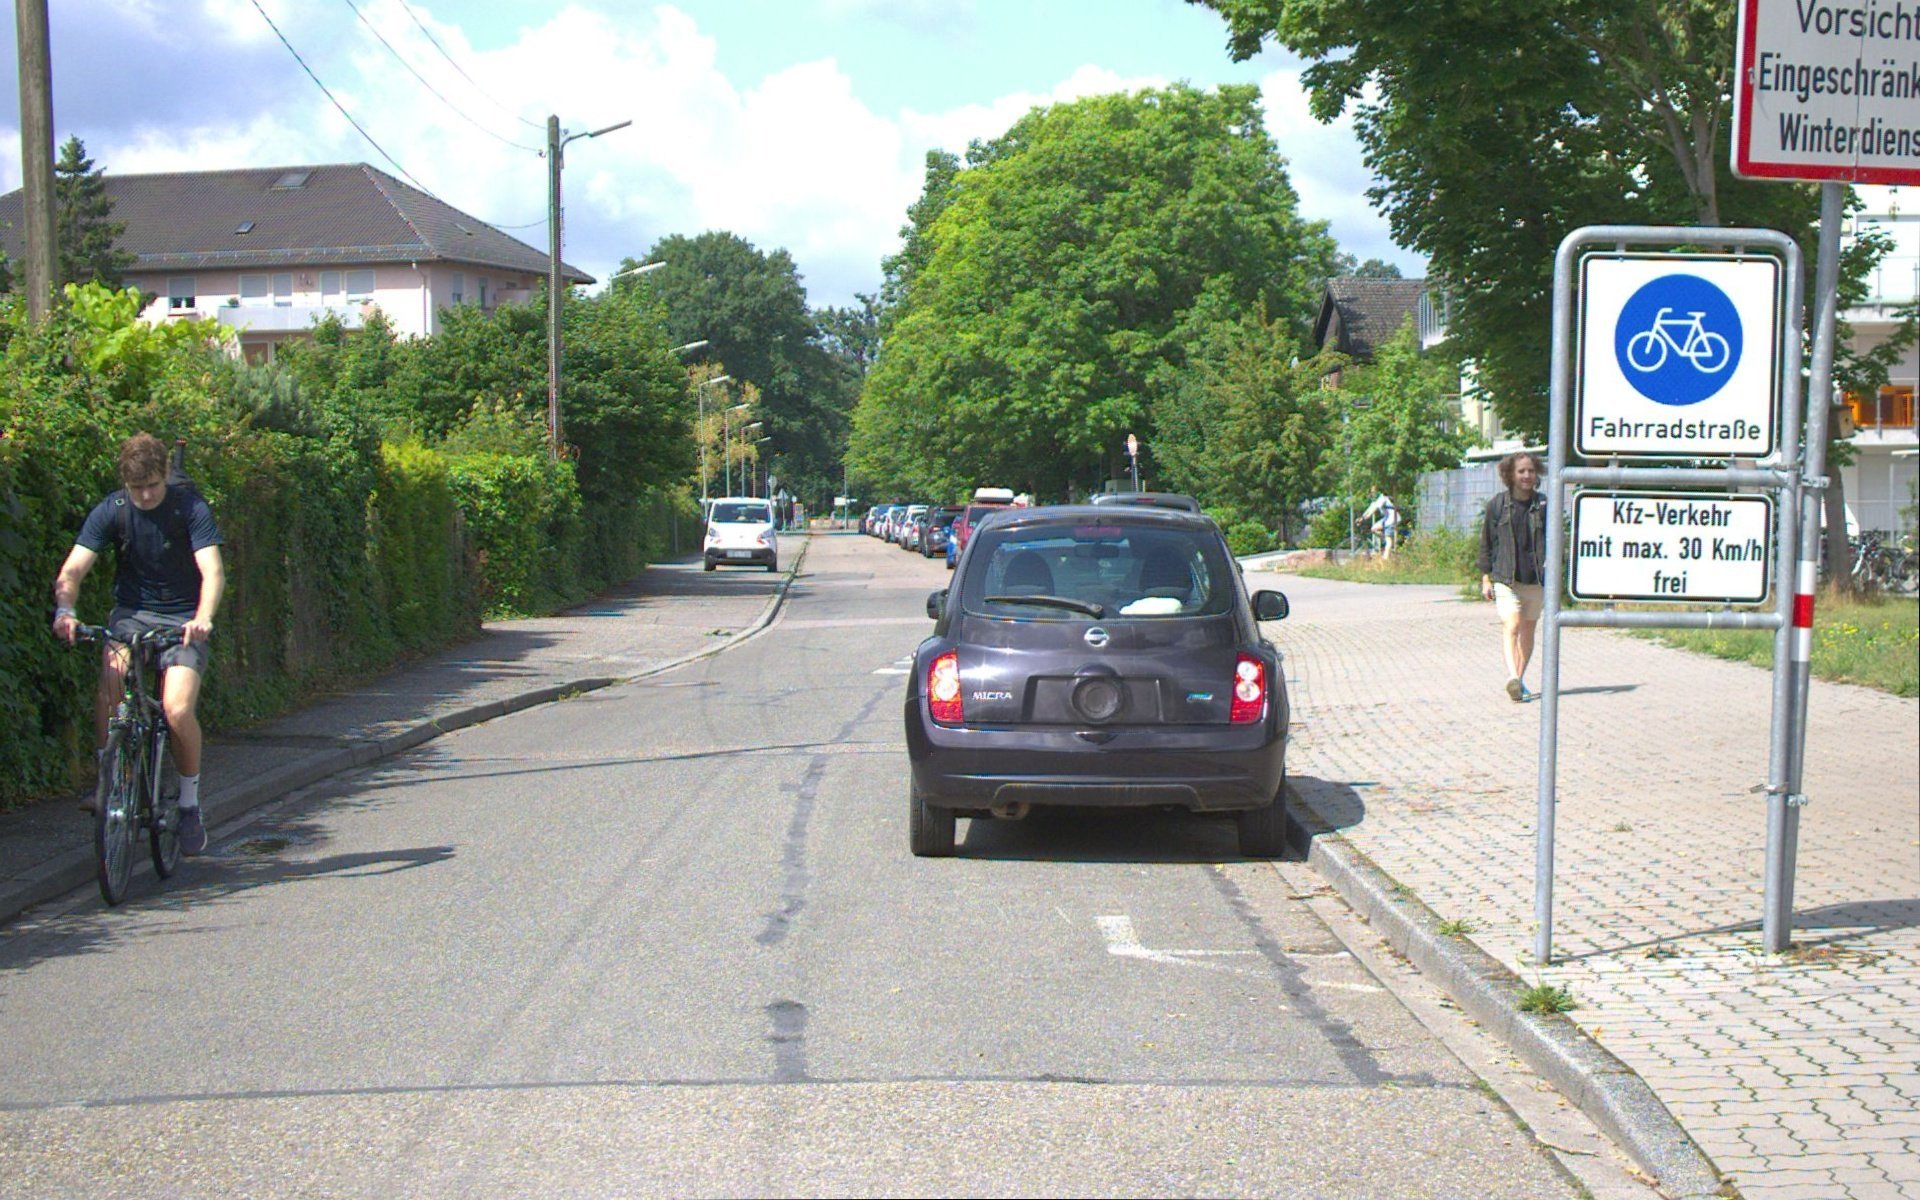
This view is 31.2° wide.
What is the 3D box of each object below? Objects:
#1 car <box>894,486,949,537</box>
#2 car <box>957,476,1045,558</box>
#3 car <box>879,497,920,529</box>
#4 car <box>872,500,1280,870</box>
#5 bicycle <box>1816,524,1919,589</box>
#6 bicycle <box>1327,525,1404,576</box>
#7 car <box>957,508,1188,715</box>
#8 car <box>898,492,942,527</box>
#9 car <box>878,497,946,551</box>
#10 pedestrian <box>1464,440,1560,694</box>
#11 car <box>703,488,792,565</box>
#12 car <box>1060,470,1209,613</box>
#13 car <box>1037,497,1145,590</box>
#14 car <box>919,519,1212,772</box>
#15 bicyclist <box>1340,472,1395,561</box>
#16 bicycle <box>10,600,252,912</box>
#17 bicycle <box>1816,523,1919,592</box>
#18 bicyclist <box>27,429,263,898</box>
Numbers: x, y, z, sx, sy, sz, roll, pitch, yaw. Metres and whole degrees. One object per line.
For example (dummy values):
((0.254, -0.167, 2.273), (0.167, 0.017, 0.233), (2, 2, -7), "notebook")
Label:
((-1.483, -3.446, 134.240), (2.058, 1.955, 4.541), (1, 1, 0), "car")
((0.988, -2.035, 84.454), (2.058, 1.919, 4.541), (1, 1, 0), "car")
((-3.127, -4.511, 178.525), (1.852, 1.612, 4.000), (1, 1, 2), "car")
((0.563, 0.306, 16.199), (1.663, 1.500, 4.000), (1, 1, 3), "car")
((16.143, -0.764, 60.328), (2.047, 1.076, 0.688), (-2, 1, 1), "bicycle")
((8.227, -1.006, 69.669), (0.860, 1.023, 1.817), (1, 1, 31), "bicycle")
((0.969, 0.047, 27.853), (1.663, 1.547, 3.637), (1, 1, 5), "car")
((-1.902, -4.304, 163.668), (1.852, 1.612, 4.000), (-1, 1, 2), "car")
((-1.493, -2.401, 108.940), (2.058, 1.646, 4.541), (1, 1, 0), "car")
((3.864, -0.237, 24.042), (0.610, 1.739, 0.721), (1, 1, 11), "pedestrian")
((-5.187, -1.800, 84.345), (1.902, 1.808, 4.000), (1, 1, 0), "car")
((2.296, -0.782, 45.526), (1.874, 1.800, 3.432), (1, 1, 3), "car")
((2.211, -0.975, 58.784), (1.678, 1.514, 4.000), (1, 1, 0), "car")
((0.697, 0.214, 21.900), (1.663, 1.435, 4.206), (1, 1, 3), "car")
((8.250, -1.692, 69.617), (0.786, 1.779, 0.893), (1, 1, 30), "bicyclist")
((-3.396, 0.604, 14.221), (0.518, 1.146, 1.827), (-2, 1, 0), "bicycle")
((15.730, -0.734, 58.639), (2.089, 1.115, 0.625), (-2, 1, 3), "bicycle")
((-3.350, 0.239, 14.205), (0.658, 1.846, 1.043), (-2, 1, 0), "bicyclist")
